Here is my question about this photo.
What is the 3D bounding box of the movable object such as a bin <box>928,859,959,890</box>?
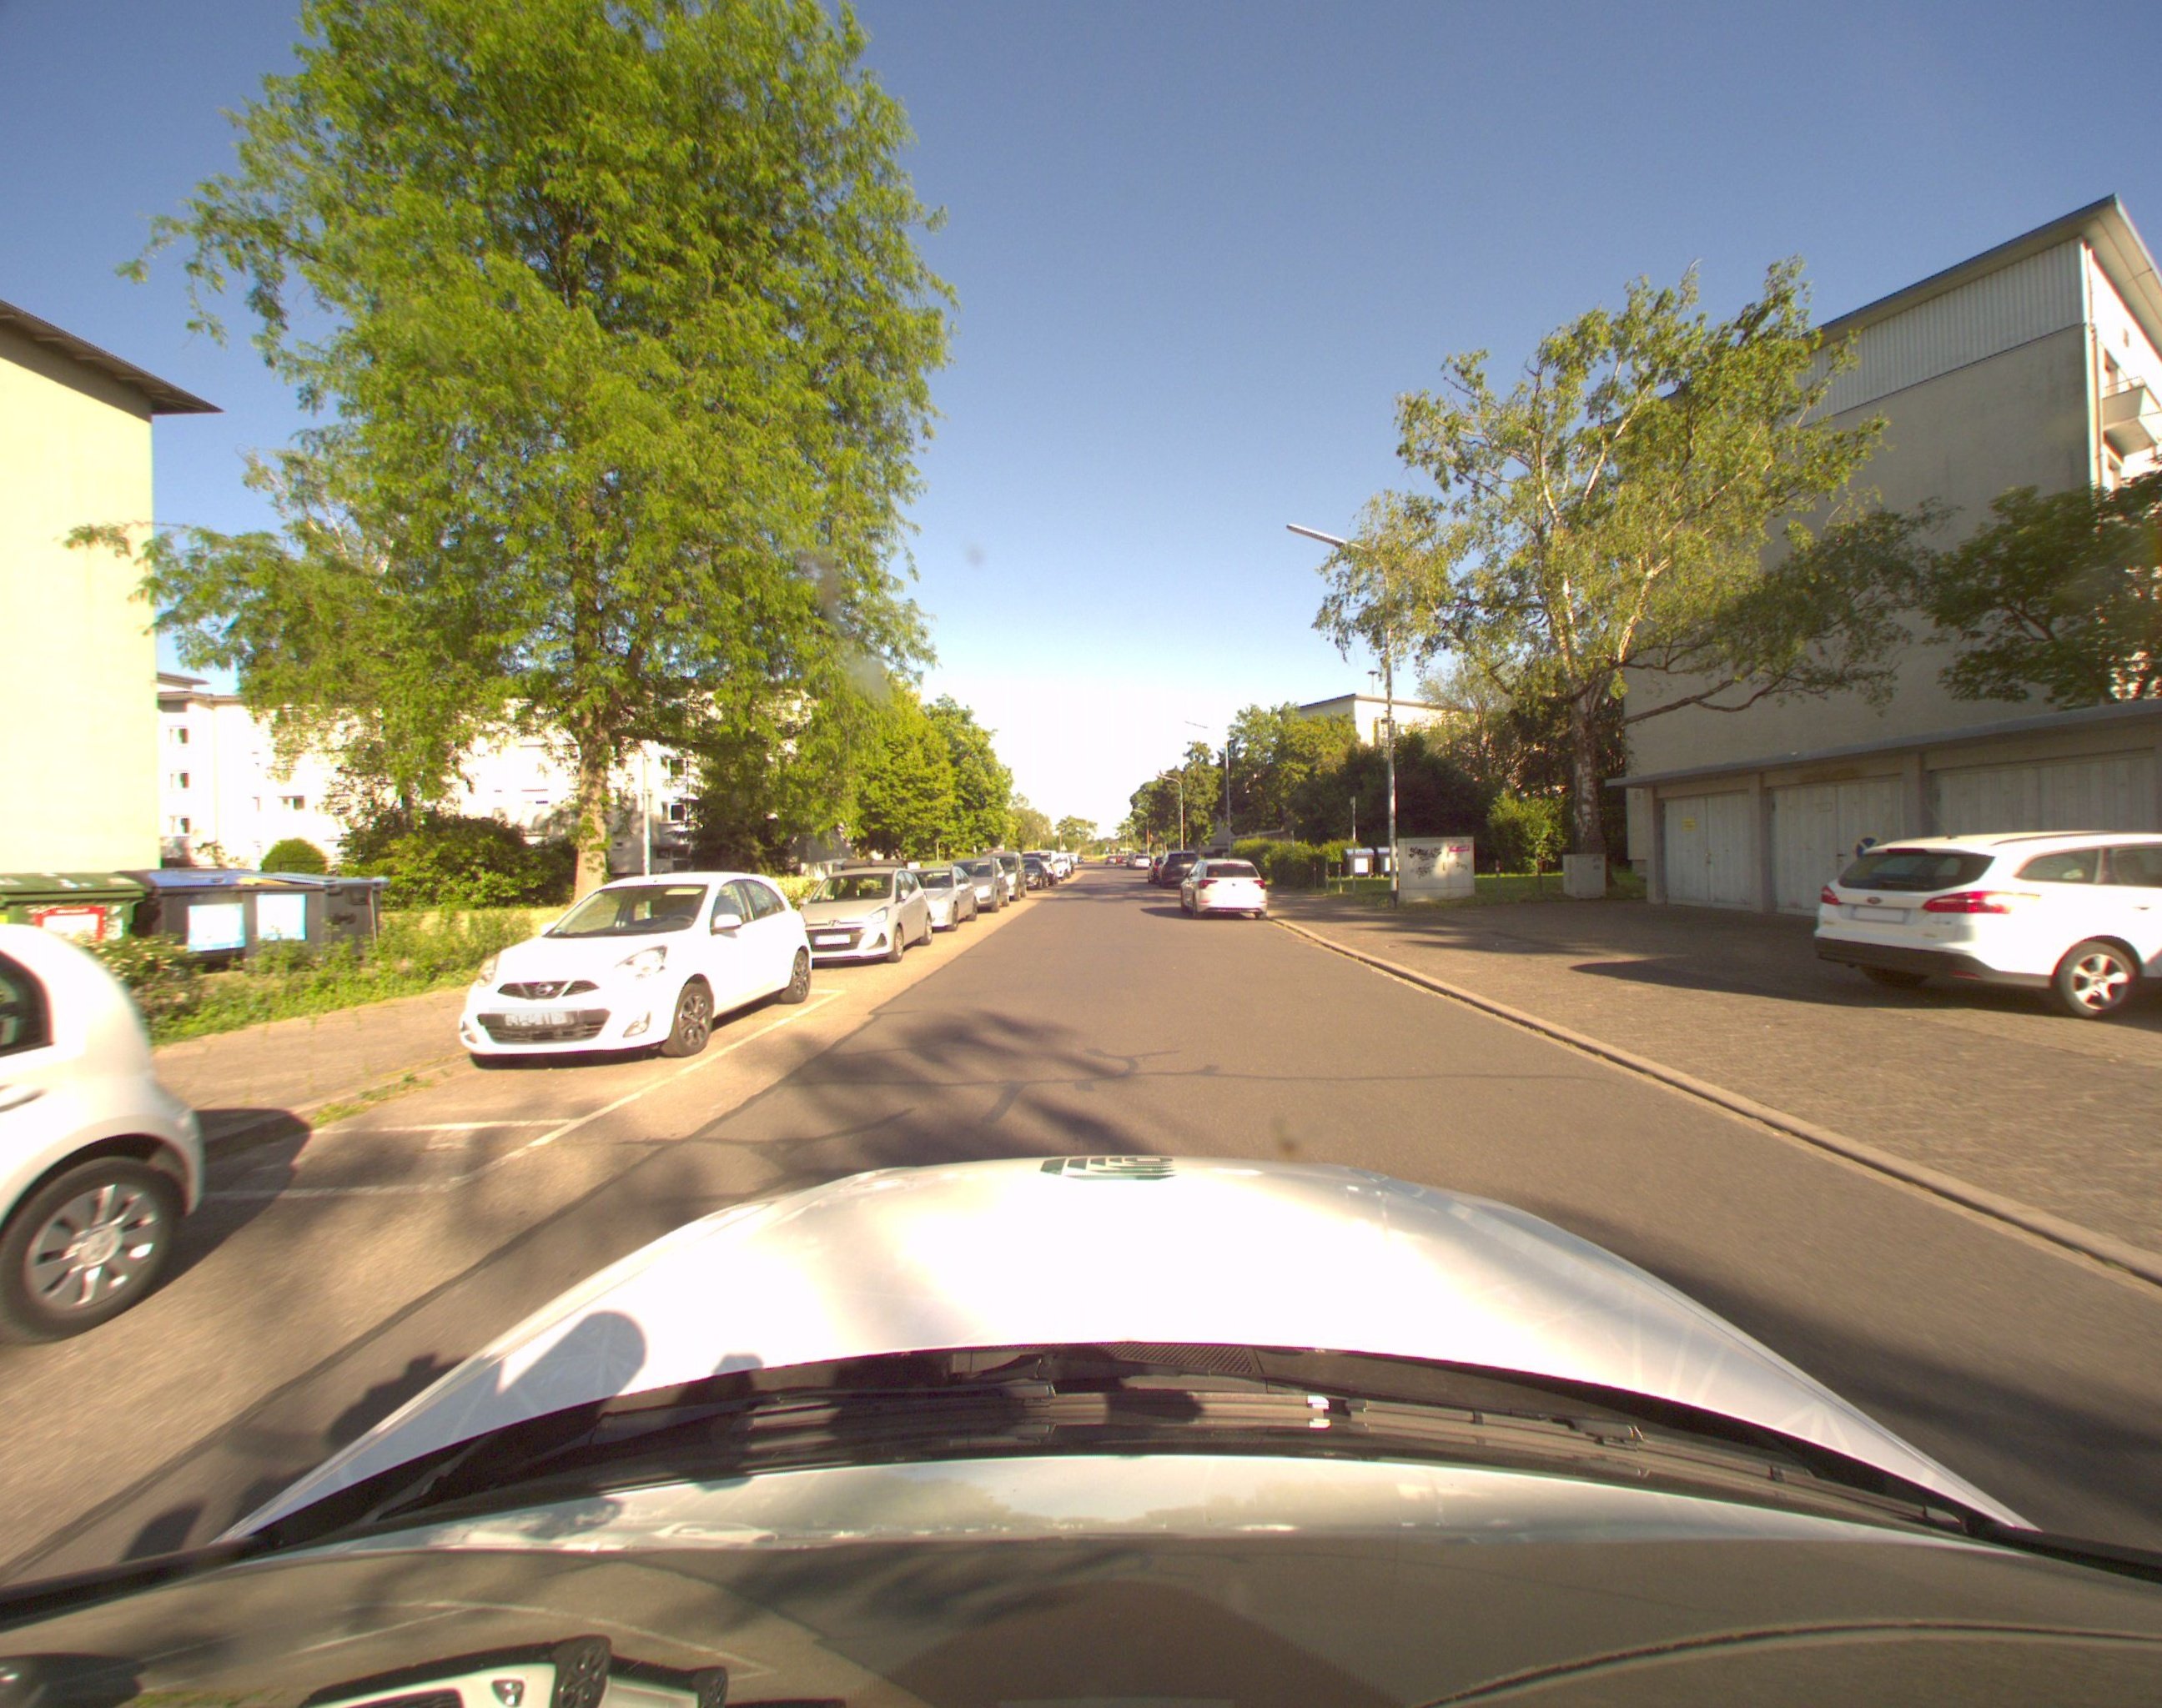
[{"bbox_3d":[-6.352,0.952,37.657,1.097,1.371,1.362,1,0,2],"label":"movable object such as a bin"}]

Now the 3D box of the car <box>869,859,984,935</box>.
[{"bbox_3d":[-3.508,0.917,19.368,1.680,1.465,4.527,-4,0,1],"label":"car"}]

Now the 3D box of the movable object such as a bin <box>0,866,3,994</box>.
[{"bbox_3d":[-12.035,0.825,7.900,1.172,1.420,1.464,1,0,4],"label":"movable object such as a bin"}]

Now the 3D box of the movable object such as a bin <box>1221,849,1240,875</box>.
[{"bbox_3d":[8.720,0.471,47.544,0.914,1.454,1.233,-2,0,2],"label":"movable object such as a bin"}]

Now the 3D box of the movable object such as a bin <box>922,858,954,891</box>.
[{"bbox_3d":[-6.344,0.908,36.193,1.097,1.420,1.362,1,0,2],"label":"movable object such as a bin"}]

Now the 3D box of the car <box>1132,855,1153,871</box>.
[{"bbox_3d":[6.201,0.890,82.711,1.790,1.561,3.951,0,0,0],"label":"car"}]

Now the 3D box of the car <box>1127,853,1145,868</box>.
[{"bbox_3d":[6.663,0.783,98.901,1.790,1.786,3.951,0,0,0],"label":"car"}]

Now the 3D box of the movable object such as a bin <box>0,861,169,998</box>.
[{"bbox_3d":[-11.984,0.807,9.424,1.172,1.420,1.464,1,0,4],"label":"movable object such as a bin"}]

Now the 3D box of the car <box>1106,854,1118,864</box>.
[{"bbox_3d":[4.956,0.743,129.929,1.674,1.513,4.103,0,0,0],"label":"car"}]

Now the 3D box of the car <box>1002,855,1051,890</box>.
[{"bbox_3d":[-2.587,0.866,39.551,1.738,1.533,4.144,-3,0,4],"label":"car"}]

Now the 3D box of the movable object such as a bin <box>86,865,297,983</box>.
[{"bbox_3d":[-11.863,0.886,10.942,1.172,1.420,1.464,1,0,4],"label":"movable object such as a bin"}]

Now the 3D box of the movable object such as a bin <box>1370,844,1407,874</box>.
[{"bbox_3d":[13.976,0.216,37.054,1.250,1.353,1.279,-1,0,1],"label":"movable object such as a bin"}]

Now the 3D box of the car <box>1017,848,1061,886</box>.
[{"bbox_3d":[-2.296,0.681,45.897,1.907,1.962,5.090,-2,0,2],"label":"car"}]

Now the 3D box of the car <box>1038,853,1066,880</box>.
[{"bbox_3d":[-1.891,0.820,54.161,1.741,1.669,4.376,-2,0,-1],"label":"car"}]

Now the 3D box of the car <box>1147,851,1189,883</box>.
[{"bbox_3d":[4.463,0.636,42.351,1.900,1.531,4.330,-1,0,2],"label":"car"}]

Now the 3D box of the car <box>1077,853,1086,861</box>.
[{"bbox_3d":[0.152,0.582,166.909,1.790,1.561,3.951,0,0,0],"label":"car"}]

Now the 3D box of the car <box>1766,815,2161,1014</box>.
[{"bbox_3d":[9.205,0.435,7.367,4.398,1.513,1.830,-2,0,2],"label":"car"}]

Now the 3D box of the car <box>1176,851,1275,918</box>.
[{"bbox_3d":[3.510,0.695,20.503,1.748,1.513,4.103,0,0,0],"label":"car"}]

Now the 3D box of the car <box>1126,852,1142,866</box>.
[{"bbox_3d":[6.686,0.634,103.088,1.790,1.643,3.951,0,0,0],"label":"car"}]

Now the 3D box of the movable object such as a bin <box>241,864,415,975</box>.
[{"bbox_3d":[-10.554,0.878,11.487,1.129,1.420,1.362,1,0,3],"label":"movable object such as a bin"}]

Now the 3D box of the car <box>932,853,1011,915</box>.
[{"bbox_3d":[-3.190,0.828,24.521,1.704,1.600,3.986,-4,0,0],"label":"car"}]

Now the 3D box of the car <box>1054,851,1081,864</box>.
[{"bbox_3d":[-2.077,0.508,125.208,4.045,1.992,1.800,0,0,-3],"label":"car"}]

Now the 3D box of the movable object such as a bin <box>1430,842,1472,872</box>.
[{"bbox_3d":[17.124,0.144,37.710,1.254,1.353,1.275,-1,0,-9],"label":"movable object such as a bin"}]

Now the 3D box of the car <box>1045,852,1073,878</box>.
[{"bbox_3d":[-1.609,0.789,59.930,1.740,1.732,4.007,-2,0,2],"label":"car"}]

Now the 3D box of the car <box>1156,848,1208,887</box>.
[{"bbox_3d":[4.460,0.565,36.487,1.900,1.639,4.630,-1,0,2],"label":"car"}]

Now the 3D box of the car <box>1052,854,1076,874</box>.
[{"bbox_3d":[-1.408,0.822,69.532,1.740,1.613,4.310,-2,0,2],"label":"car"}]

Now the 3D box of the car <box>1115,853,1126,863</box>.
[{"bbox_3d":[6.992,0.718,145.439,1.790,1.643,3.951,0,0,0],"label":"car"}]

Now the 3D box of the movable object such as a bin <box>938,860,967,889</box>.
[{"bbox_3d":[-6.150,0.968,39.058,1.097,1.356,1.362,1,0,2],"label":"movable object such as a bin"}]

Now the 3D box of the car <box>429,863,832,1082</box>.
[{"bbox_3d":[-3.972,0.910,8.046,1.680,1.535,3.892,-2,0,1],"label":"car"}]

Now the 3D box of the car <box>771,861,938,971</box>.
[{"bbox_3d":[-3.651,0.923,13.817,1.681,1.505,3.818,-2,0,0],"label":"car"}]

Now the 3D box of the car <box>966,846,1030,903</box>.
[{"bbox_3d":[-3.026,0.718,30.534,1.848,1.892,4.418,-2,0,0],"label":"car"}]

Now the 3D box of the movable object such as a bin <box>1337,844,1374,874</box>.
[{"bbox_3d":[12.554,0.221,37.268,1.250,1.353,1.279,-1,0,1],"label":"movable object such as a bin"}]

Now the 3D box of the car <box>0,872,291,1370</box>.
[{"bbox_3d":[-4.123,0.861,1.662,1.659,1.513,3.532,-2,0,-4],"label":"car"}]

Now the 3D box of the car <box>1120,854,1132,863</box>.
[{"bbox_3d":[7.669,0.714,137.959,1.790,1.548,3.951,0,0,0],"label":"car"}]
